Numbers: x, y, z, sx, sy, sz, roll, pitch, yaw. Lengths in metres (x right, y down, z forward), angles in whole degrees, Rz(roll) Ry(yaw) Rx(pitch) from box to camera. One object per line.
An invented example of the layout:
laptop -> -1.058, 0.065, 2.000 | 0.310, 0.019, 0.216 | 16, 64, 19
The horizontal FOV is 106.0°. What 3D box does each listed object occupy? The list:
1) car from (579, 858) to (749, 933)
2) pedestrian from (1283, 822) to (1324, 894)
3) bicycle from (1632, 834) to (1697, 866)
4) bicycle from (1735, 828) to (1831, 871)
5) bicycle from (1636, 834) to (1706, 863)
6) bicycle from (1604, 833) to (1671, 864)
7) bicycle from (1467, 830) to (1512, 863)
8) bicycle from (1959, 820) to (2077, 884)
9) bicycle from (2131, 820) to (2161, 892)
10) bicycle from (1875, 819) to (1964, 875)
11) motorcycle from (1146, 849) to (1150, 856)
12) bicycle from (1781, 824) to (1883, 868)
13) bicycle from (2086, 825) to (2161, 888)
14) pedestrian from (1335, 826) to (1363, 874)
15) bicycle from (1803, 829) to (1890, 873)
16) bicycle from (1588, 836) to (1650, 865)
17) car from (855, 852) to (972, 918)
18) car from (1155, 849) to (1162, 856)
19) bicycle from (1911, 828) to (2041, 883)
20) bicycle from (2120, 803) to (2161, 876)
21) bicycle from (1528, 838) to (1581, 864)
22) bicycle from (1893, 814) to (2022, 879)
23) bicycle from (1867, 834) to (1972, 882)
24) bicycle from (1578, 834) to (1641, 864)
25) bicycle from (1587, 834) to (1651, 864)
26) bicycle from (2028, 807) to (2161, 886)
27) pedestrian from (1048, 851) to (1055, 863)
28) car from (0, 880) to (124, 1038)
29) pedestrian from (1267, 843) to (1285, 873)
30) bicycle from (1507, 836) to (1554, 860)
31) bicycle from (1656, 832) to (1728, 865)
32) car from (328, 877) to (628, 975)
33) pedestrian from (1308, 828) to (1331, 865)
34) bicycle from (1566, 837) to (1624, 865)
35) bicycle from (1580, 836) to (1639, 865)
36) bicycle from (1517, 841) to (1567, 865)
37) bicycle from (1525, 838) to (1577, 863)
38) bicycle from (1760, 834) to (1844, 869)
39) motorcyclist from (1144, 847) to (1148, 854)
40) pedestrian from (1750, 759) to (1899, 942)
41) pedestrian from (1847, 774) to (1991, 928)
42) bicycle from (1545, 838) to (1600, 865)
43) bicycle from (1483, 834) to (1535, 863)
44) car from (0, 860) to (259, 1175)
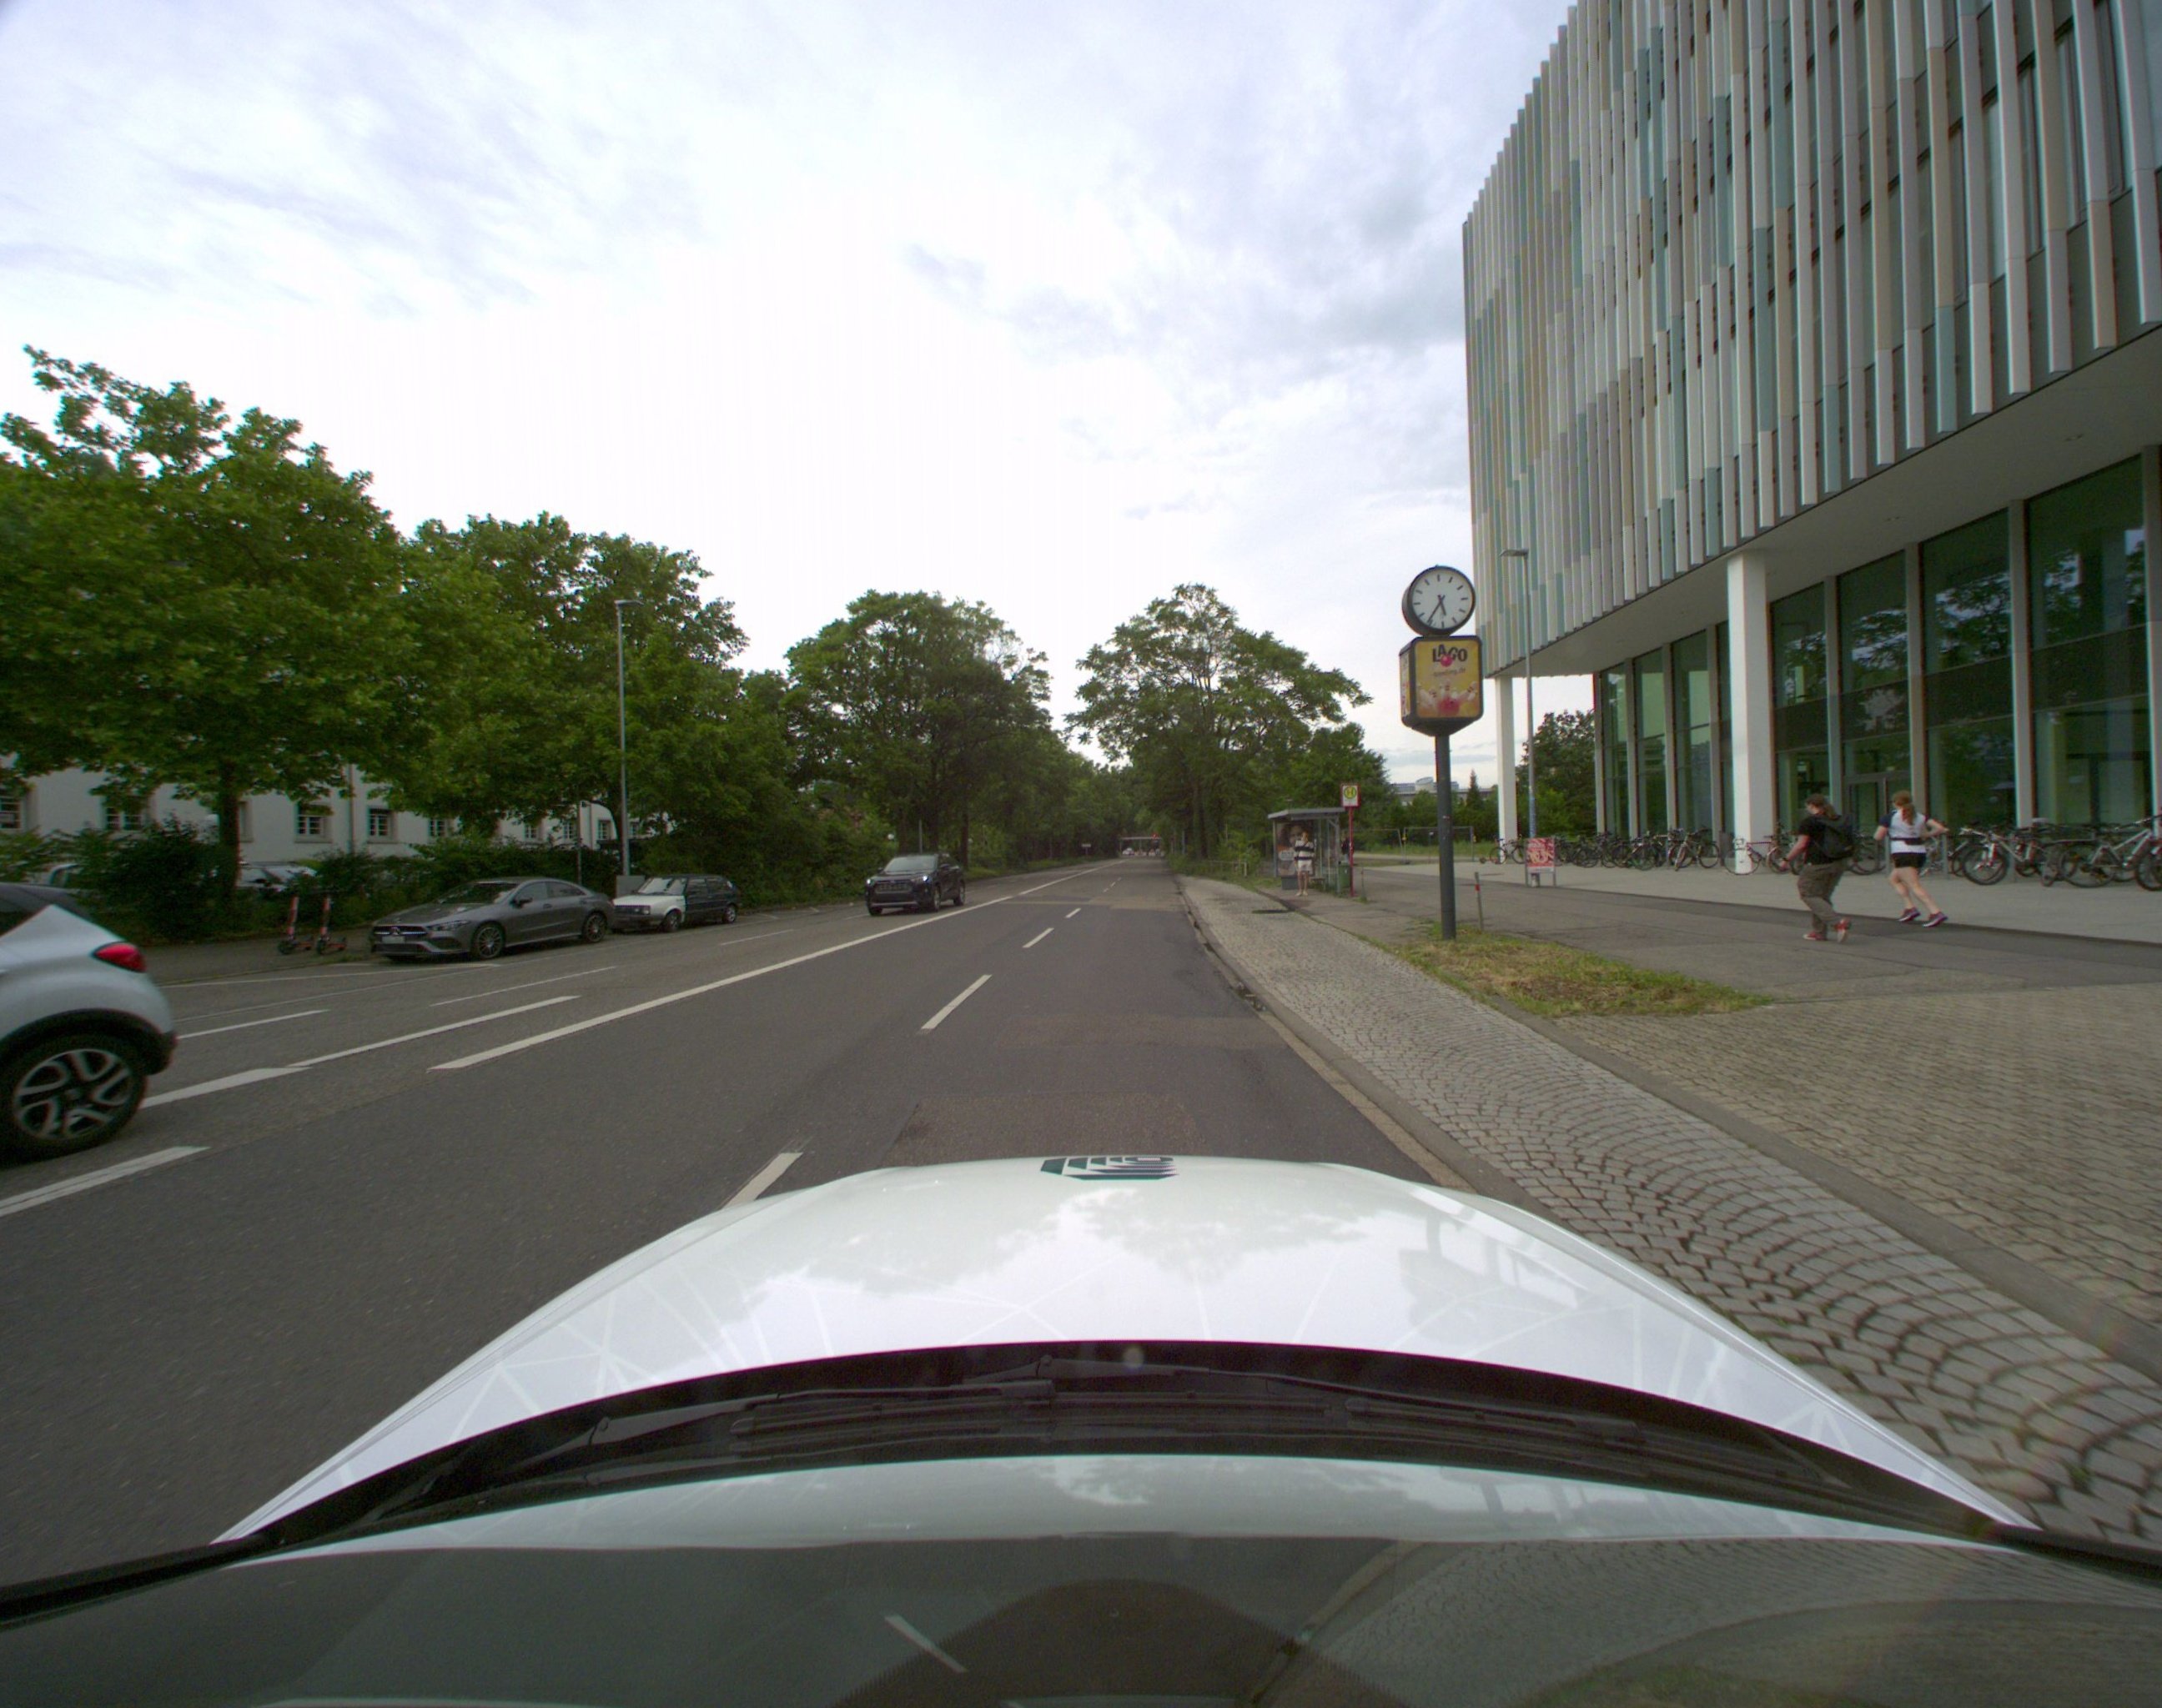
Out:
car -> -10.452, 0.961, 20.801 | 1.984, 1.689, 4.006 | -1, 0, 5
pedestrian -> 6.551, 0.095, 23.992 | 0.908, 2.013, 0.855 | -4, 2, 4
bicycle -> 17.321, -0.117, 24.181 | 1.447, 0.839, 0.557 | -3, 0, 5
bicycle -> 15.914, -0.110, 18.492 | 1.598, 0.874, 0.557 | -3, 0, 5
bicycle -> 17.015, -0.159, 23.509 | 1.552, 0.716, 0.557 | -3, 0, 5
bicycle -> 17.026, -0.165, 24.933 | 1.598, 0.874, 0.557 | -3, 0, 5
bicycle -> 18.045, -0.342, 35.968 | 1.634, 1.333, 0.465 | -5, -1, 18
bicycle -> 16.119, -0.028, 14.035 | 1.235, 1.007, 0.551 | -3, 0, 9
bicycle -> 15.803, -0.032, 11.279 | 1.598, 0.982, 0.557 | -5, 0, 5
bicycle -> 17.024, -0.139, 16.555 | 1.190, 1.049, 0.436 | -3, 0, 12
motorcycle -> 18.618, -0.491, 226.847 | 0.985, 1.936, 2.673 | 0, 0, 5
bicycle -> 17.350, -0.177, 18.847 | 1.680, 0.947, 0.518 | -2, 0, 12
bicycle -> 15.869, 0.018, 11.875 | 1.598, 0.875, 0.557 | -2, 0, 5
pedestrian -> 11.348, -0.169, 34.509 | 0.838, 2.013, 0.896 | -2, 0, 5
bicycle -> 16.562, -0.069, 17.637 | 1.276, 0.874, 0.557 | -3, 0, 6
bicycle -> 17.779, -0.117, 26.913 | 1.598, 0.874, 0.557 | -3, 0, 5
car -> -4.570, 0.778, 22.959 | 1.893, 1.593, 4.523 | -3, 0, 5
car -> 21.239, -0.477, 222.918 | 1.834, 2.013, 4.006 | 0, 0, 5
bicycle -> 16.133, 0.027, 14.707 | 1.598, 0.874, 0.557 | -4, 0, 5
bicycle -> 17.970, -0.279, 12.764 | 0.652, 1.144, 1.963 | -4, 0, -43
bicycle -> 17.819, -0.129, 30.661 | 1.598, 0.874, 0.557 | -3, 0, 5
bicycle -> 16.682, -0.135, 15.526 | 1.635, 1.102, 0.574 | -4, 0, 8
bicycle -> 16.916, 0.086, 16.437 | 1.598, 0.896, 0.367 | -2, 0, 5
bicycle -> 17.155, -0.163, 26.465 | 1.598, 0.874, 0.557 | -3, 0, 5
bicycle -> 17.091, -0.158, 25.883 | 1.598, 0.874, 0.557 | -3, 0, 5
bicycle -> 16.234, -0.123, 12.833 | 1.632, 1.091, 0.574 | -5, -1, 13
pedestrian -> -4.205, 0.438, 116.162 | 0.788, 1.613, 0.849 | 0, 0, 5
car -> -12.302, 1.121, 7.257 | 1.849, 1.607, 4.602 | 0, 0, 7
pedestrian -> 13.272, 0.254, 55.381 | 0.922, 2.013, 1.040 | -2, 0, 1
bicycle -> 18.226, -0.241, 33.040 | 1.600, 0.874, 0.556 | -2, 0, 1
bicycle -> 17.134, -0.149, 22.843 | 1.525, 0.833, 0.557 | -3, 0, 5
car -> -11.312, 1.246, 15.839 | 1.863, 1.424, 4.739 | 1, 0, 8
pedestrian -> 13.093, -0.409, 44.724 | 0.922, 2.013, 1.040 | -2, 0, 1
bicycle -> 17.945, -0.106, 28.433 | 1.598, 0.874, 0.557 | -3, 0, 5
bicycle -> 17.830, -0.115, 27.480 | 1.596, 0.884, 0.517 | -2, 0, 5
bicycle -> 18.201, -0.043, 32.180 | 1.598, 0.874, 0.557 | -3, 0, 5
bicycle -> 18.021, -0.144, 31.233 | 1.598, 0.874, 0.557 | -3, 0, 5
bicycle -> 17.220, -0.069, 19.475 | 1.427, 0.746, 0.557 | -3, 0, 5
motorcyclist -> 18.138, -1.065, 226.921 | 1.058, 2.013, 0.844 | 0, 0, 5
pedestrian -> 8.777, -0.040, 9.663 | 0.838, 2.013, 0.896 | -4, 0, 7
pedestrian -> 10.577, -0.035, 10.320 | 0.839, 1.836, 0.895 | -2, 0, 3
bicycle -> 17.883, -0.098, 29.634 | 1.598, 0.874, 0.557 | -3, 0, 5
bicycle -> 17.955, -0.228, 34.179 | 1.786, 1.082, 0.627 | -4, 0, 3
car -> -6.461, 0.880, 3.179 | 1.984, 1.547, 4.186 | -4, 0, 5
